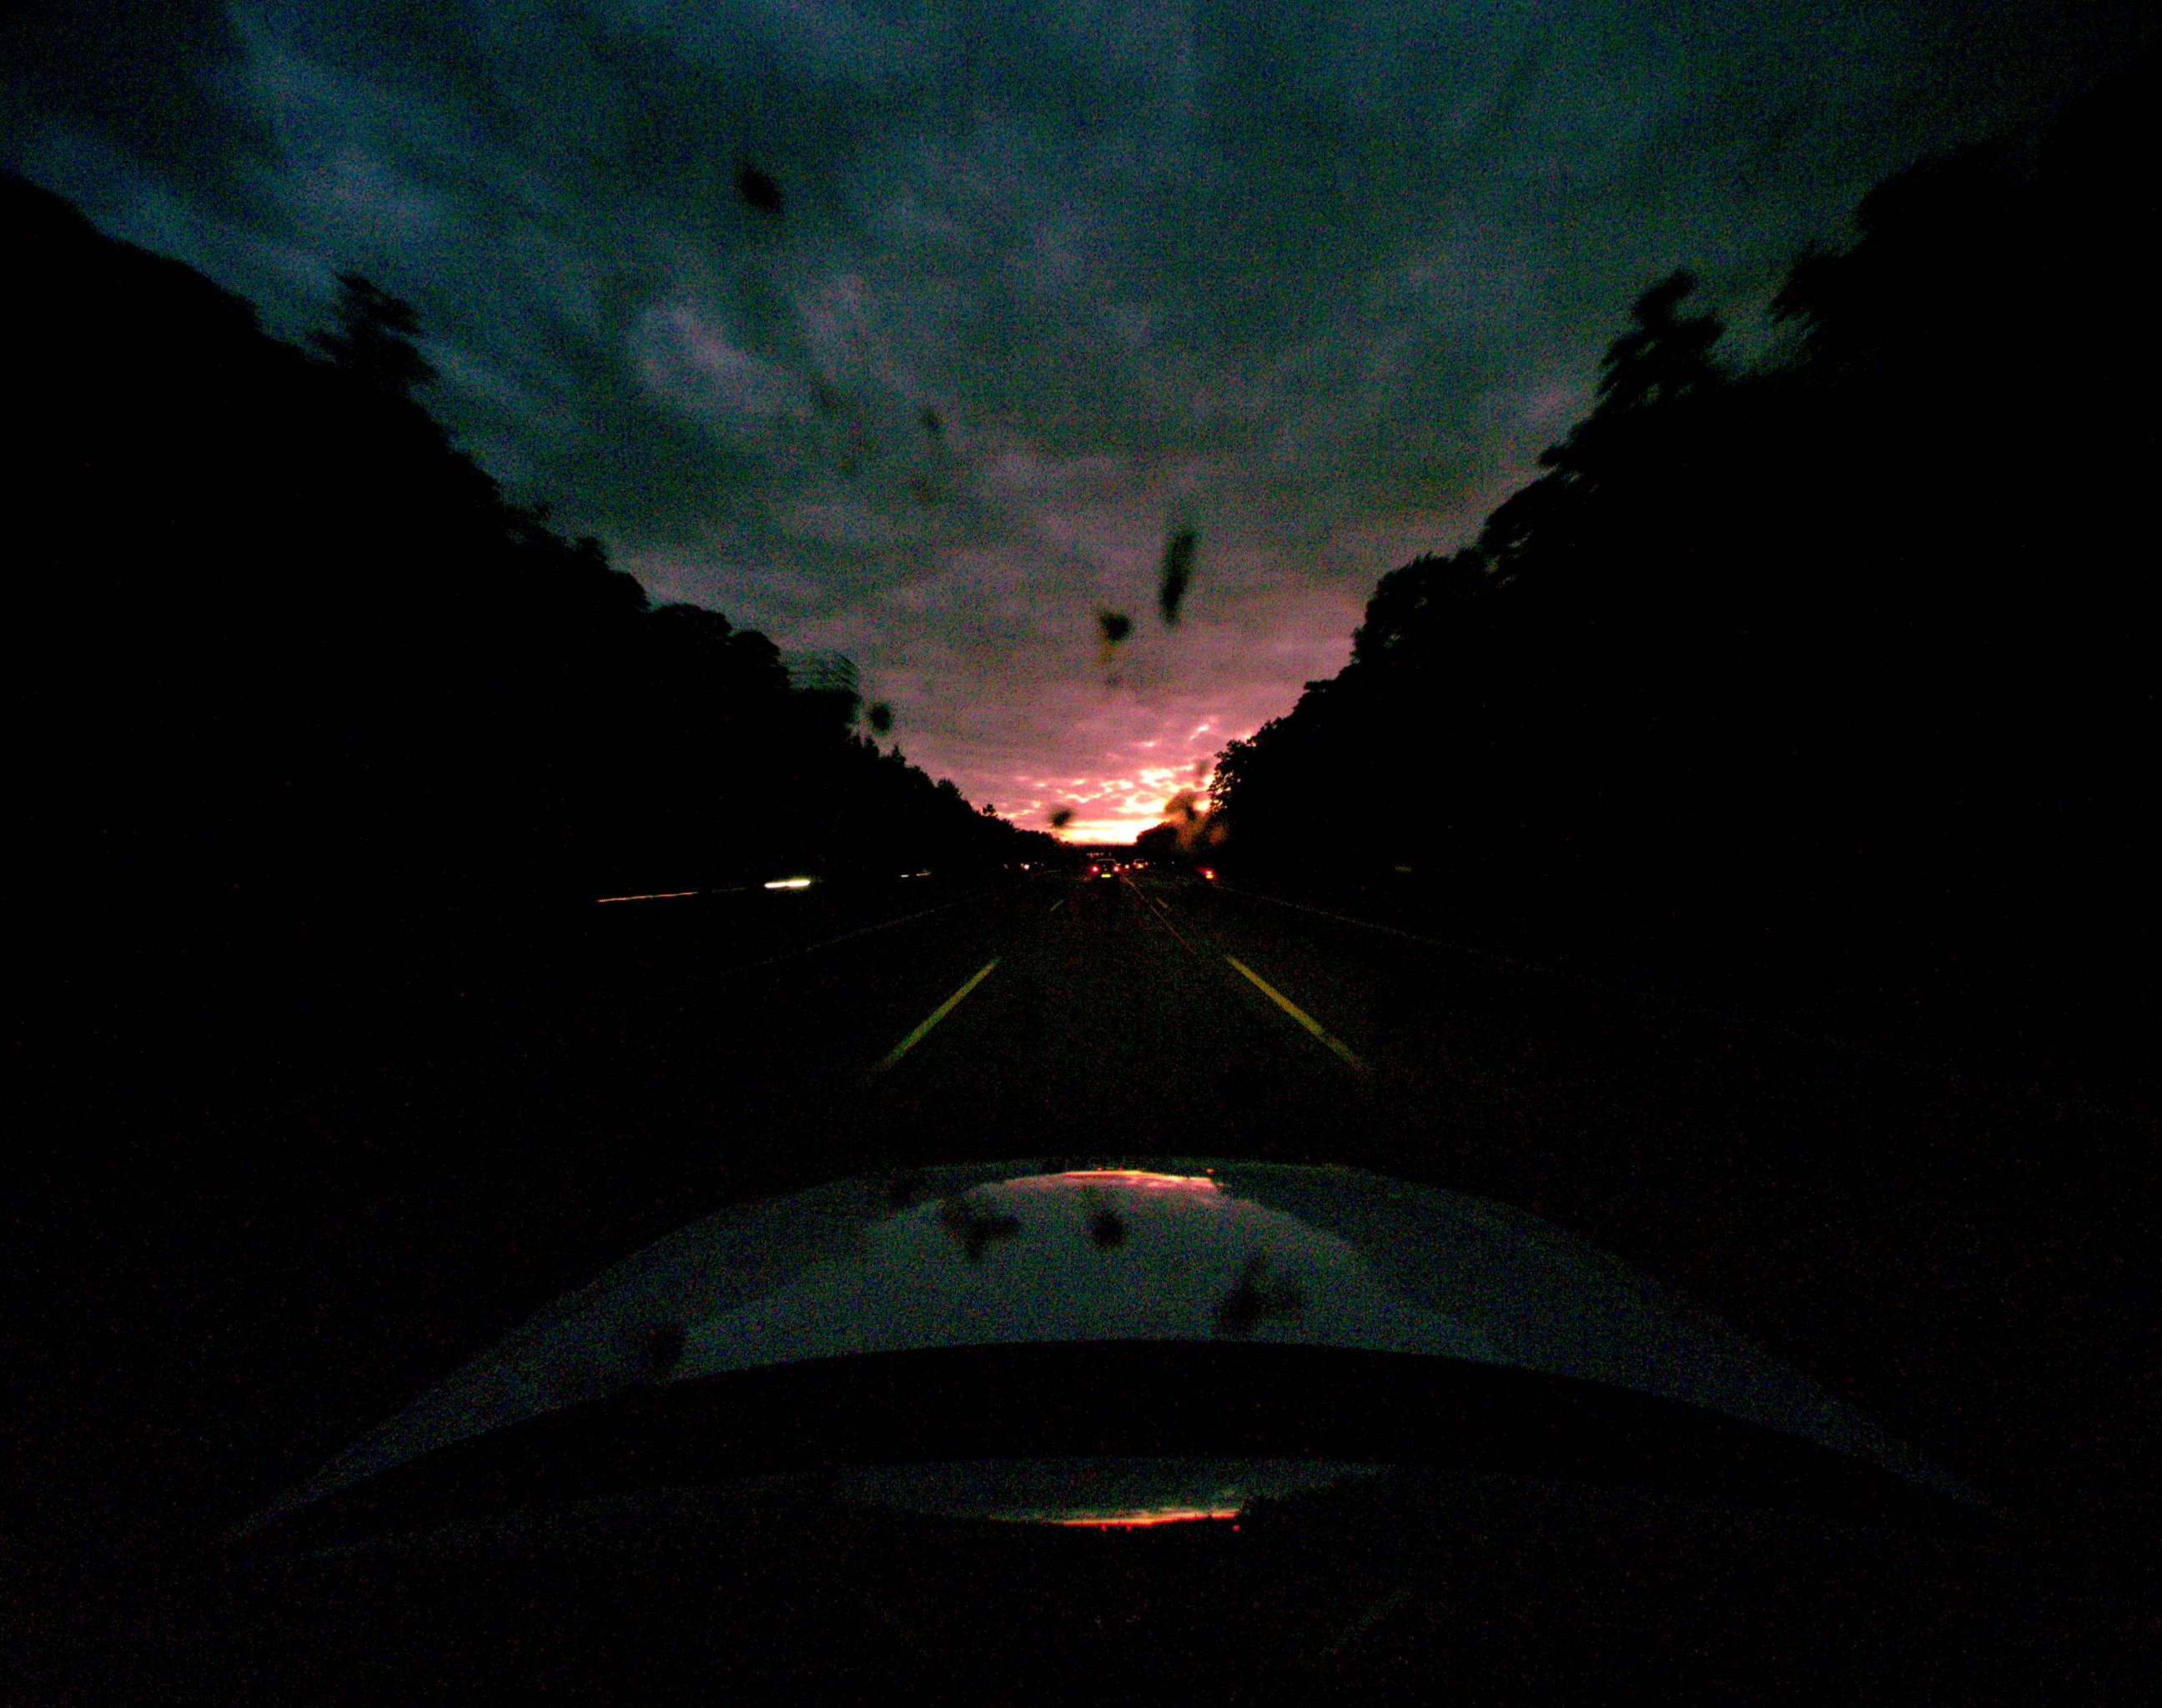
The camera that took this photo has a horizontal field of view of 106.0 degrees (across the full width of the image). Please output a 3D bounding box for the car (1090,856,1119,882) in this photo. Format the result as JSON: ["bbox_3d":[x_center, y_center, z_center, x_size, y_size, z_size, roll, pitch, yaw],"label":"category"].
[{"bbox_3d":[1.462,0.912,49.701,1.697,1.509,4.233,0,-1,2],"label":"car"}]

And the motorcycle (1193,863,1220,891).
[{"bbox_3d":[5.359,0.976,35.015,0.826,1.134,2.477,-1,0,2],"label":"motorcycle"}]

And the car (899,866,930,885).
[{"bbox_3d":[-16.400,2.088,80.497,1.910,1.765,5.009,-2,0,1],"label":"car"}]

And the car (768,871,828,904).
[{"bbox_3d":[-17.307,1.997,50.013,1.911,1.765,5.007,-2,0,-1],"label":"car"}]

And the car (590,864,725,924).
[{"bbox_3d":[-14.147,1.270,27.616,1.910,1.765,5.007,-2,0,0],"label":"car"}]

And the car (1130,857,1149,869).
[{"bbox_3d":[6.972,1.066,97.499,1.861,1.494,4.394,0,-1,-2],"label":"car"}]

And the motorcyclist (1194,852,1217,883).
[{"bbox_3d":[5.345,0.566,34.950,0.826,1.291,1.190,-1,0,2],"label":"motorcyclist"}]
